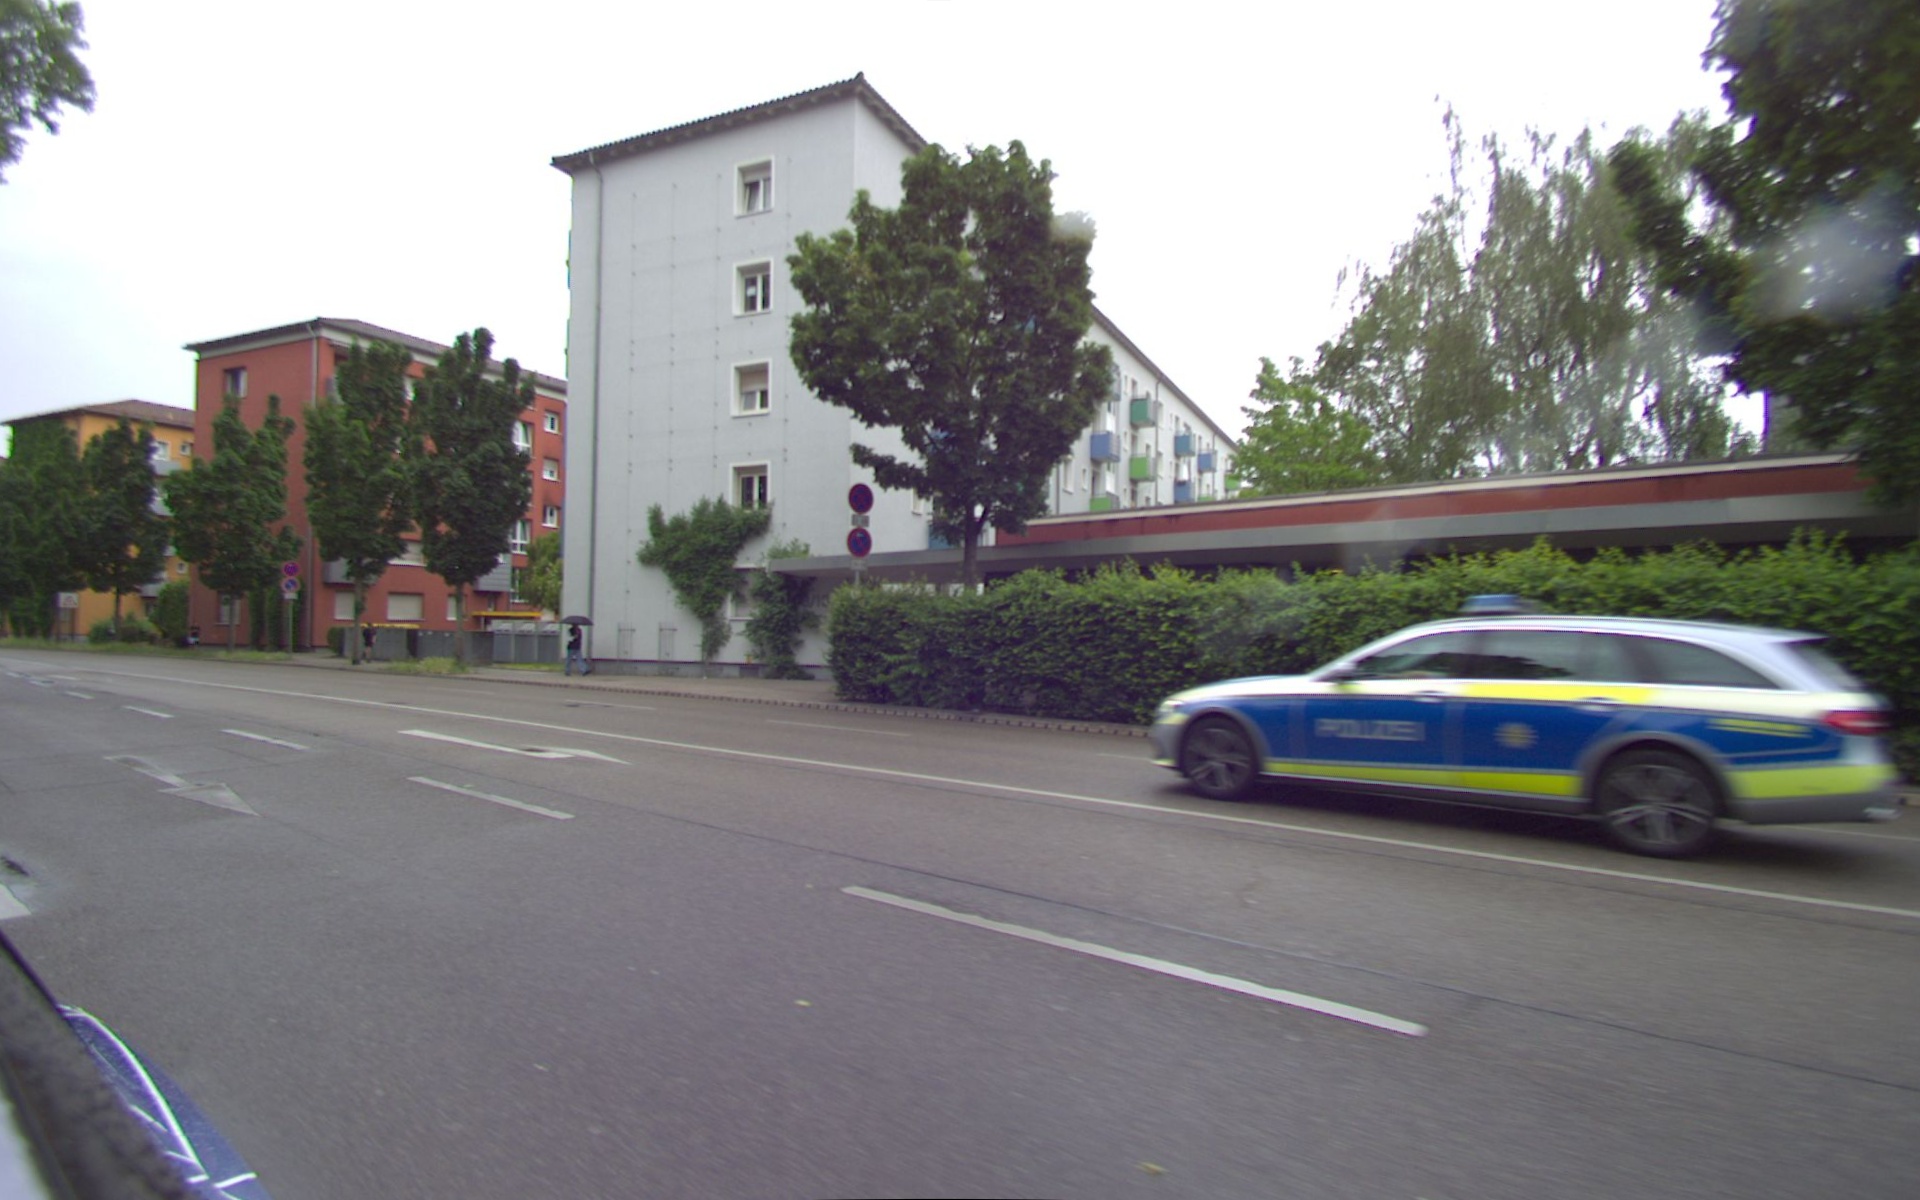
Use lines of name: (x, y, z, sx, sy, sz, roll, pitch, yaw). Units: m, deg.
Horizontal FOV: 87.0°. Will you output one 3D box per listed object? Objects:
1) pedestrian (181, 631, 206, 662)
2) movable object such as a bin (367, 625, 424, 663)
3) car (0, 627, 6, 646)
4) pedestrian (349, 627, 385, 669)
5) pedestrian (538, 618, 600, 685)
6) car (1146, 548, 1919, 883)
pedestrian: (-36.835, 2.220, 48.645, 0.833, 1.460, 0.666, -1, -3, 32)
movable object such as a bin: (-22.748, 1.776, 40.781, 2.082, 1.496, 1.204, -1, -3, 35)
car: (-82.210, 3.050, 85.081, 4.212, 1.537, 1.717, -1, -3, 31)
pedestrian: (-21.853, 1.770, 37.308, 1.066, 1.529, 0.687, -1, -3, 32)
pedestrian: (-10.989, 1.436, 28.478, 1.261, 1.818, 1.123, -2, -3, 37)
car: (3.997, 0.676, 7.609, 4.805, 1.763, 1.972, -1, -3, 41)
